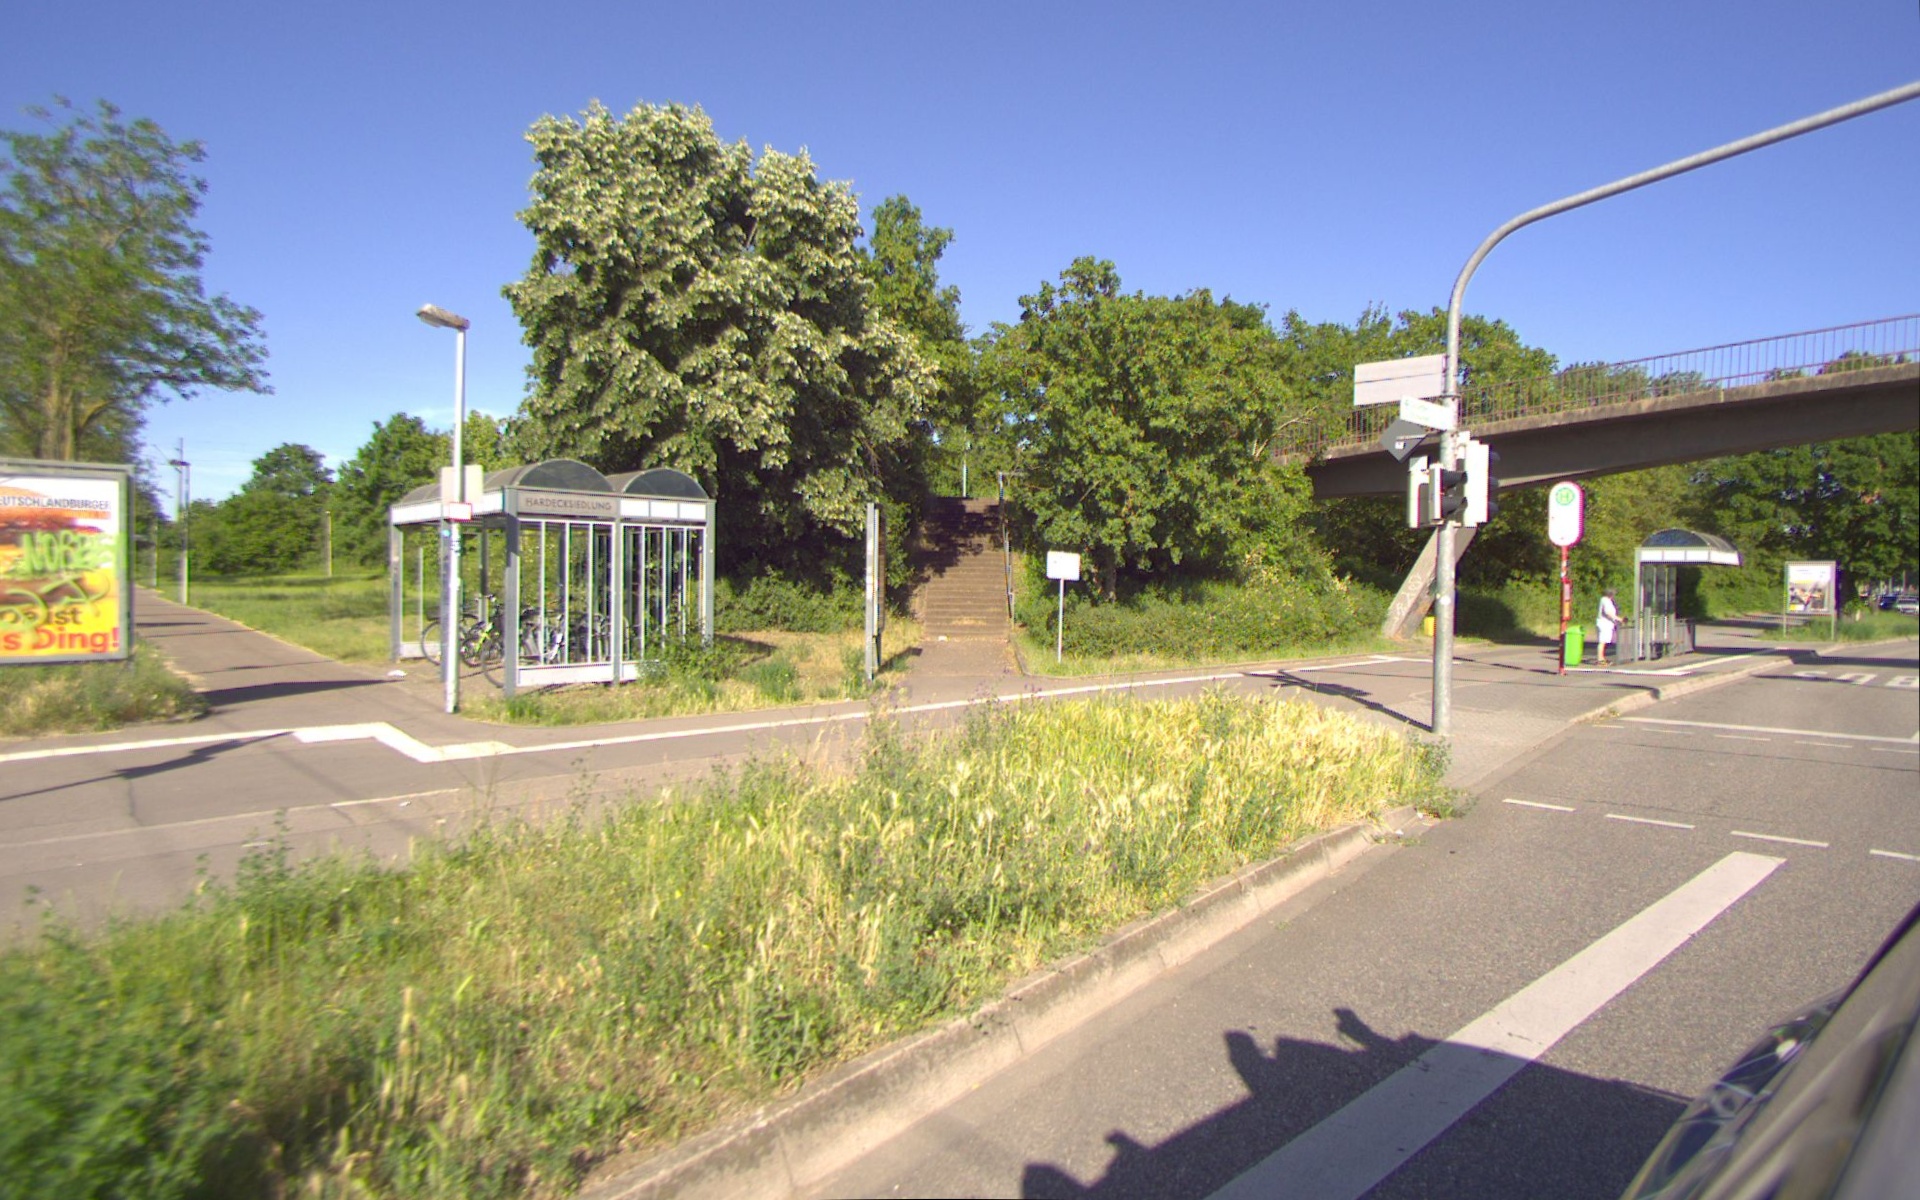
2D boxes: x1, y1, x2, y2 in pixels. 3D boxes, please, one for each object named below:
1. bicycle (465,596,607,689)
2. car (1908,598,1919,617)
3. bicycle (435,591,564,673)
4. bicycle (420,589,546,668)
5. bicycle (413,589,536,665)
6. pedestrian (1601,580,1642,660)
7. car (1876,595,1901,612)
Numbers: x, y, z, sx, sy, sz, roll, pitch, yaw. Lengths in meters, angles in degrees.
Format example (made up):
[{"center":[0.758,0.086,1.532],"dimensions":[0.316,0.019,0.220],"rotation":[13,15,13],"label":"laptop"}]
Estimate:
[{"center":[-5.918,0.567,14.201],"dimensions":[1.755,1.080,0.431],"rotation":[-6,6,-41],"label":"bicycle"},{"center":[86.427,0.681,90.871],"dimensions":[1.867,1.641,3.778],"rotation":[0,0,42],"label":"car"},{"center":[-7.205,0.477,15.892],"dimensions":[1.755,1.080,0.431],"rotation":[-6,6,-41],"label":"bicycle"},{"center":[-7.719,0.432,16.439],"dimensions":[1.755,1.080,0.431],"rotation":[-6,6,-41],"label":"bicycle"},{"center":[-8.059,0.421,16.856],"dimensions":[1.755,1.080,0.431],"rotation":[-6,6,-41],"label":"bicycle"},{"center":[14.227,0.417,21.768],"dimensions":[0.588,1.683,0.705],"rotation":[2,1,44],"label":"pedestrian"},{"center":[95.254,0.355,103.792],"dimensions":[1.868,1.641,3.777],"rotation":[0,0,43],"label":"car"}]
